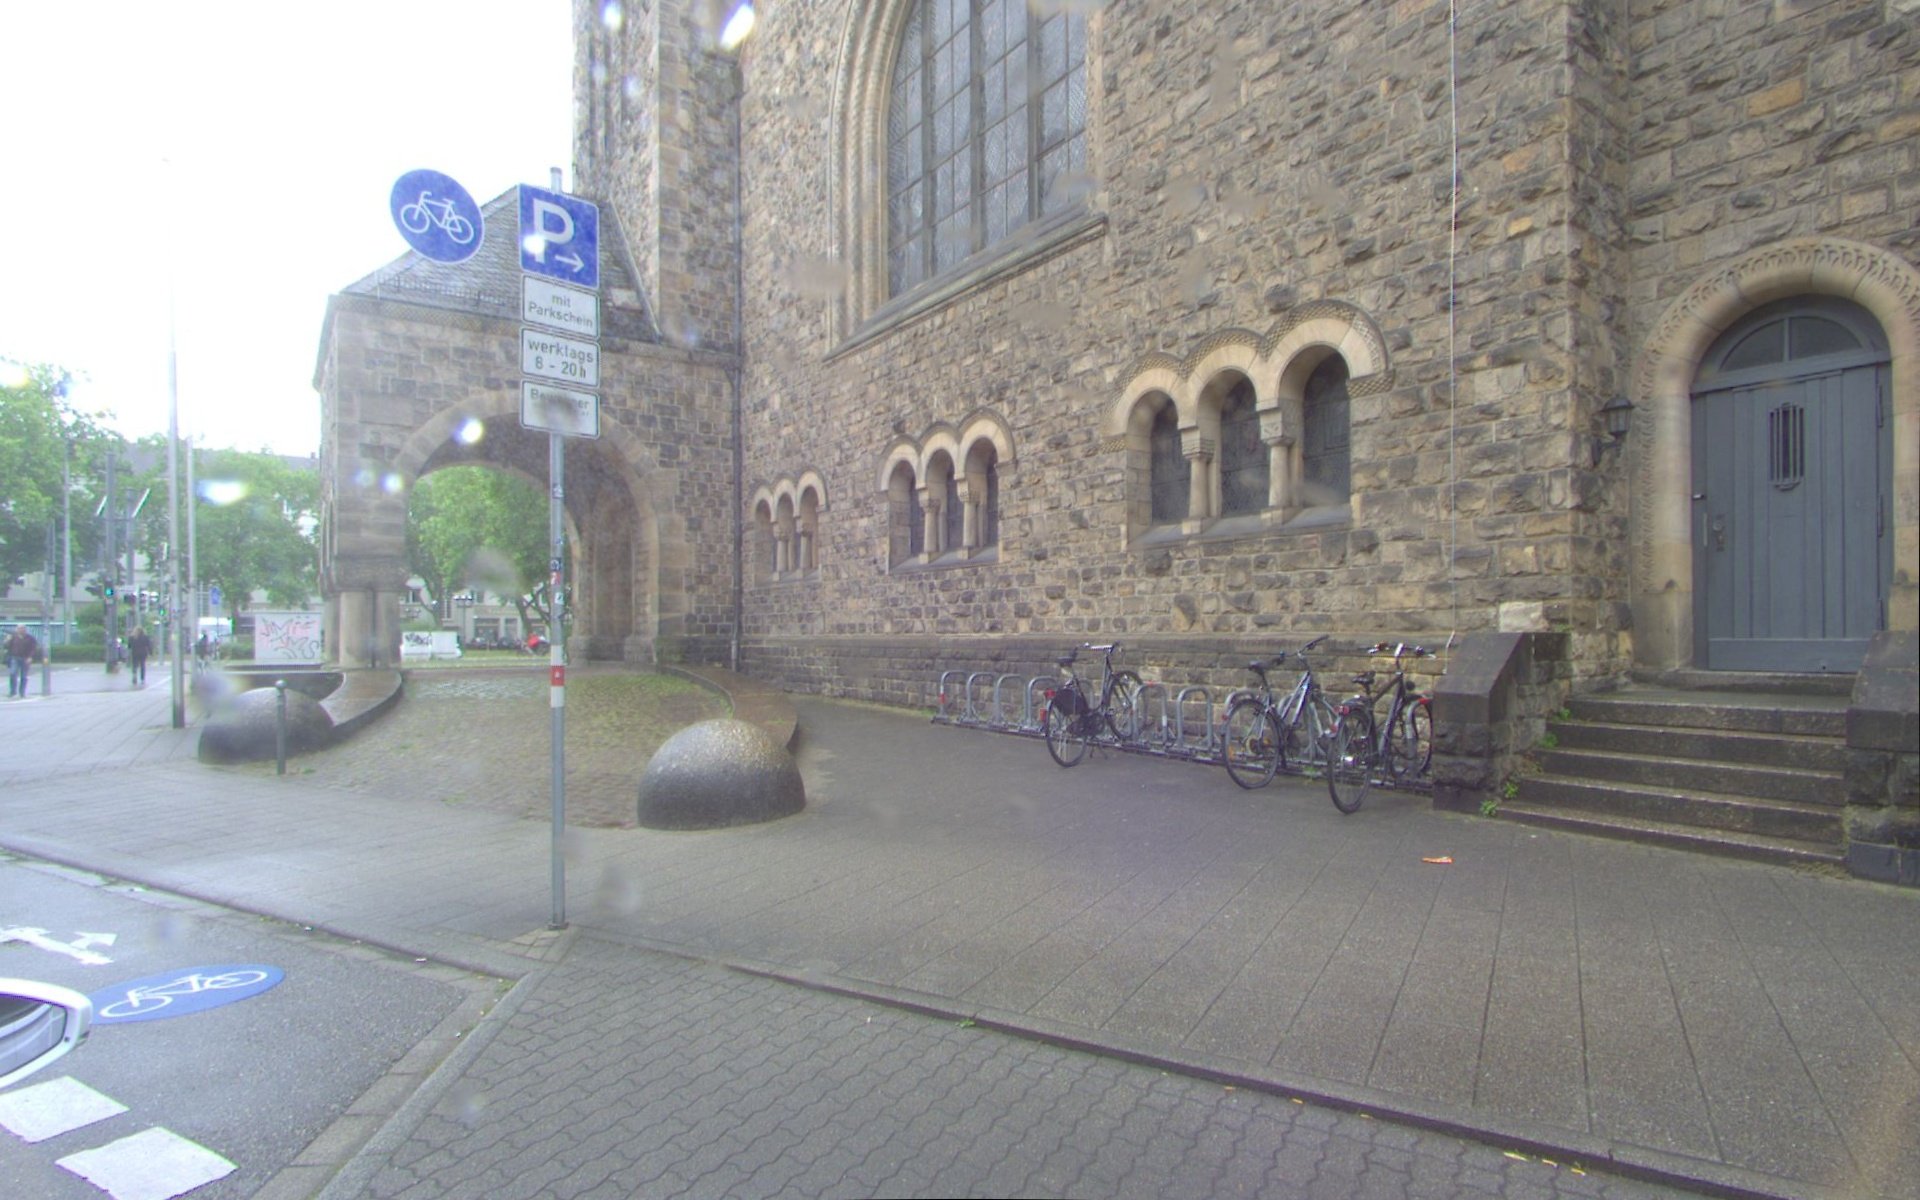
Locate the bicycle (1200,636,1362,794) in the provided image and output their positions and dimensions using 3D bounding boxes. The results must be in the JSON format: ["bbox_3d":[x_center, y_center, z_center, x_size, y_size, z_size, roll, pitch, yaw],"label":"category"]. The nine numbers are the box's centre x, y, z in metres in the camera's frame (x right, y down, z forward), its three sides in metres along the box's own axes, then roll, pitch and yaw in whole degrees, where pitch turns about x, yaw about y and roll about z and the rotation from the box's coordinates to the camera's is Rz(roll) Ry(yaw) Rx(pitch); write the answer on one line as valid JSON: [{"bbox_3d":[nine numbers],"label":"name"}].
[{"bbox_3d":[2.734,0.906,8.432,1.697,1.126,0.556,-2,0,-45],"label":"bicycle"}]

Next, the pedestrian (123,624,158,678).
[{"bbox_3d":[-25.855,1.609,31.595,0.775,1.667,0.651,0,0,-34],"label":"pedestrian"}]

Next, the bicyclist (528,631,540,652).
[{"bbox_3d":[-26.209,2.557,61.612,0.517,1.266,0.648,0,-1,-36],"label":"bicyclist"}]

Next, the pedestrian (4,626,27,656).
[{"bbox_3d":[-48.577,2.110,51.493,0.666,1.573,0.758,0,-2,-30],"label":"pedestrian"}]

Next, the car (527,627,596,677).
[{"bbox_3d":[-12.705,1.624,31.871,1.389,1.498,3.200,1,-2,-34],"label":"car"}]

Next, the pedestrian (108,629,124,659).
[{"bbox_3d":[-45.249,2.360,53.693,0.607,1.624,0.491,0,-1,-34],"label":"pedestrian"}]

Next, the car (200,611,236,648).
[{"bbox_3d":[-53.691,2.124,72.525,1.888,2.588,4.757,0,-1,-34],"label":"car"}]

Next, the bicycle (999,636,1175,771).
[{"bbox_3d":[1.300,0.960,9.910,0.684,1.119,1.973,-1,0,43],"label":"bicycle"}]

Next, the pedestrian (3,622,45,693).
[{"bbox_3d":[-24.415,1.478,26.128,0.780,1.782,0.936,0,0,-43],"label":"pedestrian"}]

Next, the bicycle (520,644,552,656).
[{"bbox_3d":[-26.107,3.065,61.658,1.683,0.728,0.648,1,-1,-38],"label":"bicycle"}]

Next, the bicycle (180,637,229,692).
[{"bbox_3d":[-16.613,1.393,22.006,2.049,1.169,0.327,-1,-1,38],"label":"bicycle"}]

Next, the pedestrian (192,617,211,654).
[{"bbox_3d":[-42.442,1.991,56.013,0.797,2.040,0.586,0,-1,-31],"label":"pedestrian"}]

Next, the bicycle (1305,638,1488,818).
[{"bbox_3d":[3.226,0.856,7.289,1.971,1.068,0.507,-2,0,-45],"label":"bicycle"}]
